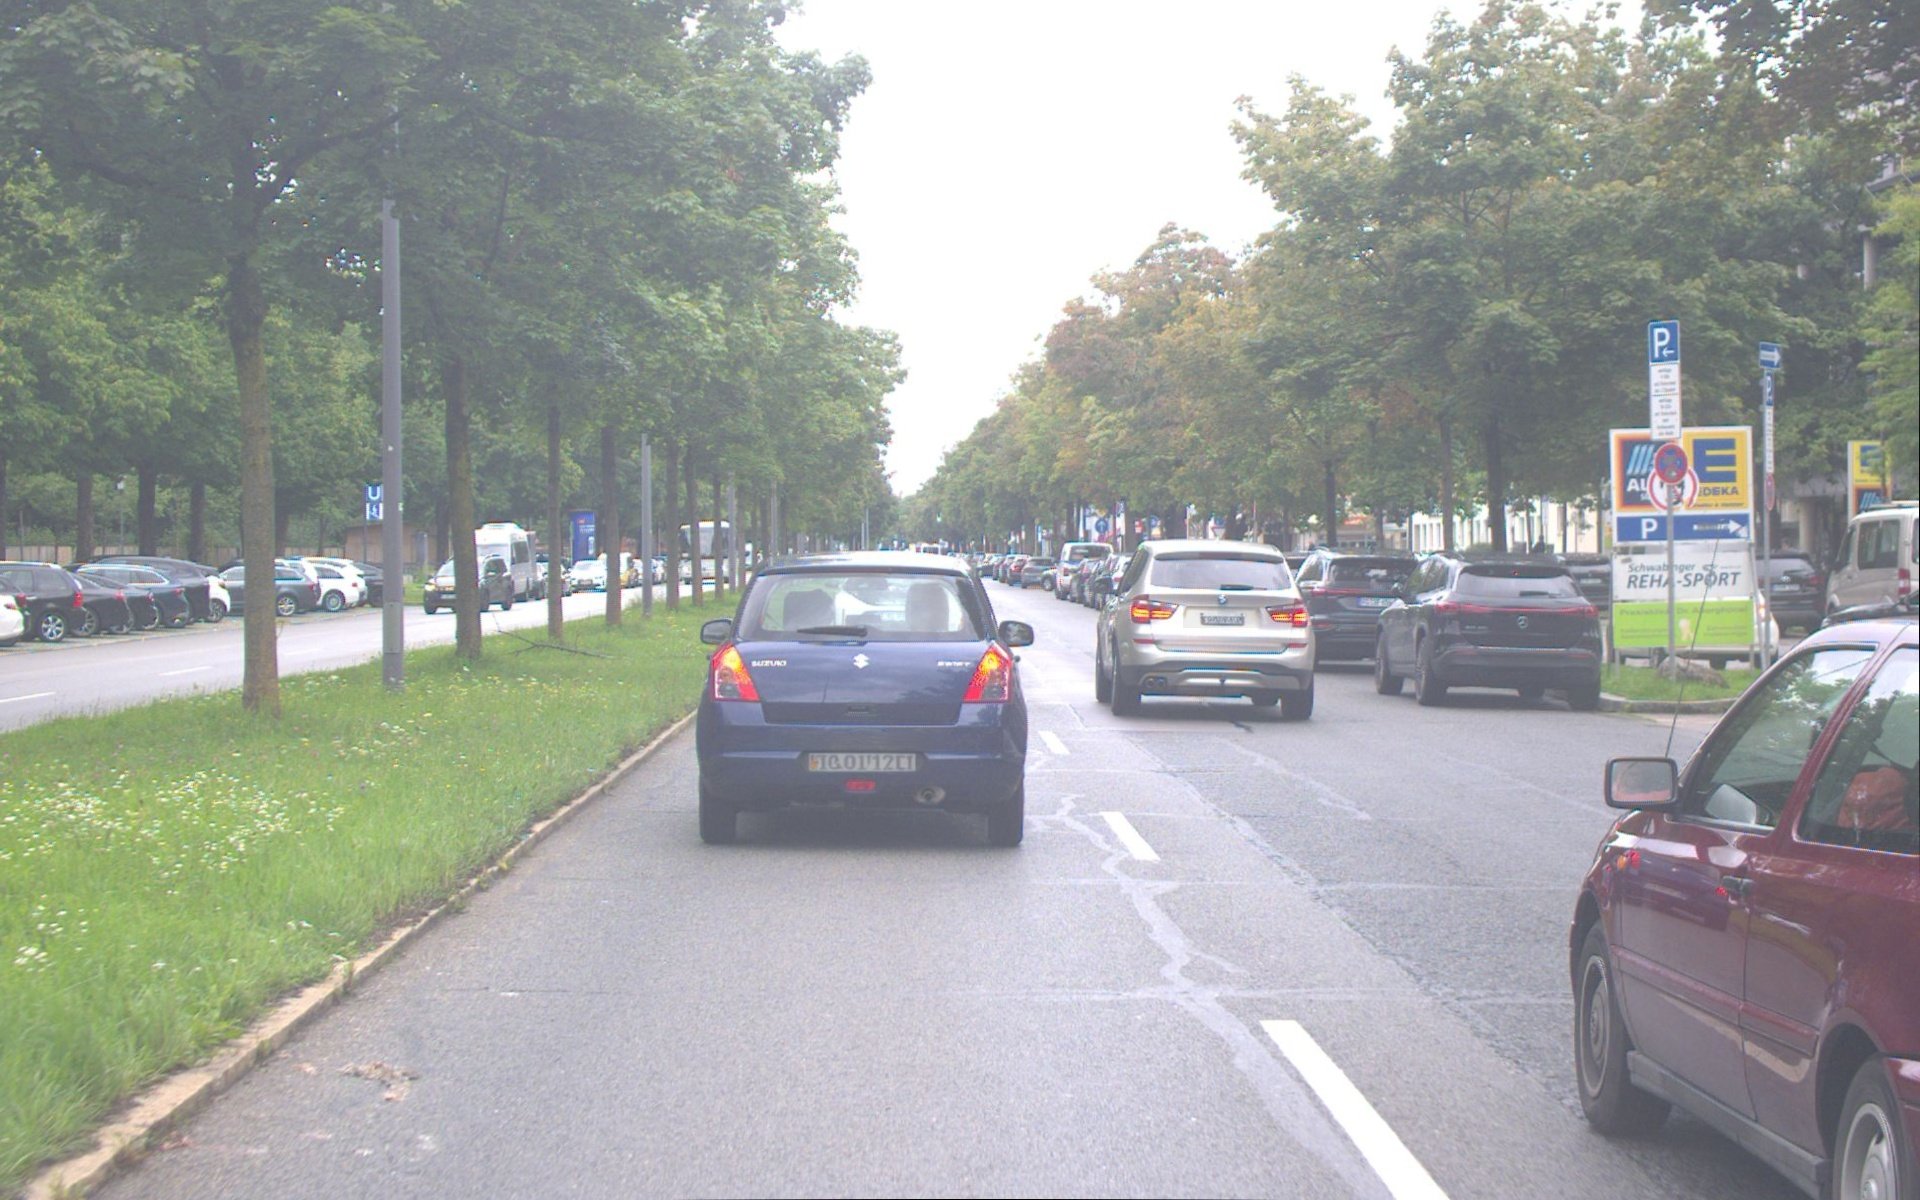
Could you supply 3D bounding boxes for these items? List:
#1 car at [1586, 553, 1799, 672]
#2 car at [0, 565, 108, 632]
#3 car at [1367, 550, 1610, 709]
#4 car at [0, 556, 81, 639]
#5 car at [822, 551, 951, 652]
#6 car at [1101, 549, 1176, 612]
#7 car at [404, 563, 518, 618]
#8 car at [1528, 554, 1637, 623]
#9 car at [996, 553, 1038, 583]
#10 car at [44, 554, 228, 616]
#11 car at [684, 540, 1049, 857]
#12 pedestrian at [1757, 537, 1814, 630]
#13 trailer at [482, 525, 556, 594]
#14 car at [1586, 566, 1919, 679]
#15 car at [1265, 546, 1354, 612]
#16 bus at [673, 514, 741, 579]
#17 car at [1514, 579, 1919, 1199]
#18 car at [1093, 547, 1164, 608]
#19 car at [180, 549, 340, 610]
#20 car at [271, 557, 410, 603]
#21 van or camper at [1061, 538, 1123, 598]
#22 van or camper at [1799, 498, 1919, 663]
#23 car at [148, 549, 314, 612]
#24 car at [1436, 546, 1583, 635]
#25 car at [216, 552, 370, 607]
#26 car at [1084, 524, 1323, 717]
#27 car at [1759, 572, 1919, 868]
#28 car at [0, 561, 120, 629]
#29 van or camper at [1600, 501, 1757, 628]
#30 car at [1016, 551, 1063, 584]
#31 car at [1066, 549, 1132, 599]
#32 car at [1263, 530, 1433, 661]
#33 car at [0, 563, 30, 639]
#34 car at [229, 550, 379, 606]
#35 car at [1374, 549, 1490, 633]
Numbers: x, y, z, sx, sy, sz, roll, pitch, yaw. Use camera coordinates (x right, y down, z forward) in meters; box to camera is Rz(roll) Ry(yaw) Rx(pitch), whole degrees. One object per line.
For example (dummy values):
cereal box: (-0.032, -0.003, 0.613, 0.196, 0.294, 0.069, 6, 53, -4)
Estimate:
car: (9.845, 0.135, 46.491, 1.763, 1.483, 4.001, 2, 1, -3)
car: (-19.868, -0.031, 70.585, 4.189, 1.318, 1.919, -1, 1, -34)
car: (5.559, 0.261, 36.684, 1.761, 1.584, 4.453, 0, 1, -2)
car: (-19.576, -0.048, 67.419, 4.096, 1.591, 1.919, -1, 1, -39)
car: (-1.141, -0.008, 51.359, 1.850, 1.442, 4.098, 0, 1, -2)
car: (4.569, -0.520, 88.418, 1.684, 1.520, 4.456, 1, 1, 0)
car: (-14.339, -0.286, 99.018, 1.914, 1.537, 4.185, 0, 1, 12)
car: (15.268, -0.301, 84.538, 1.684, 1.627, 4.499, 0, 1, -2)
car: (2.783, -1.597, 168.290, 1.850, 1.442, 4.098, 0, 1, -2)
car: (-20.668, -0.390, 86.292, 4.094, 1.496, 1.919, -1, 1, -31)
car: (-0.538, 0.453, 18.878, 1.789, 1.550, 4.000, 0, 1, -2)
pedestrian: (16.636, -0.336, 69.318, 0.875, 1.845, 0.903, 1, 1, -2)
trailer: (-16.628, -1.542, 129.764, 2.106, 2.532, 5.577, 0, 1, 0)
car: (10.893, 0.271, 47.342, 1.684, 1.449, 4.839, -1, 1, -31)
car: (8.871, -0.555, 87.559, 1.684, 1.627, 4.780, 0, 1, -1)
bus: (-13.772, -2.941, 187.770, 2.738, 3.366, 12.013, -2, 1, 0)
car: (2.405, 0.695, 7.647, 1.622, 1.449, 3.950, 0, 1, -1)
car: (4.597, -0.636, 94.217, 1.684, 1.620, 4.306, 1, 1, 0)
car: (-20.099, -0.610, 98.749, 4.095, 1.689, 1.919, -1, 1, -34)
car: (-20.120, -0.638, 111.753, 4.094, 1.469, 1.705, 0, 0, -34)
van or camper: (4.437, -1.096, 116.001, 1.944, 1.968, 4.306, 0, 1, 0)
van or camper: (15.426, -0.354, 56.050, 1.993, 2.549, 5.957, 0, 1, 0)
car: (-20.275, -0.552, 95.658, 4.095, 1.689, 1.919, -1, 1, -34)
car: (9.438, -0.187, 59.273, 1.747, 1.474, 4.009, 0, 1, -2)
car: (-19.909, -0.614, 102.648, 4.095, 1.579, 1.919, -1, 1, -34)
car: (2.270, 0.151, 33.090, 1.850, 1.737, 4.098, 0, 1, -2)
car: (5.503, 0.583, 17.654, 1.653, 1.429, 4.483, 0, 1, -1)
car: (-20.320, -0.115, 73.467, 4.185, 1.405, 1.919, -1, 1, -34)
van or camper: (15.092, -0.771, 72.571, 2.024, 2.549, 5.957, 0, 1, 0)
car: (3.551, -1.484, 154.446, 1.850, 1.442, 4.098, 0, 1, -2)
car: (4.424, -0.843, 109.632, 1.684, 1.548, 4.307, 0, 1, -3)
car: (5.226, -0.093, 46.814, 1.761, 1.695, 4.820, 0, 1, 0)
car: (-19.049, 0.030, 62.044, 4.030, 1.377, 1.674, -1, 1, -36)
car: (-20.160, -0.690, 105.678, 4.095, 1.647, 1.919, -1, 1, -34)
car: (9.154, -0.194, 66.911, 1.684, 1.580, 4.009, 0, 1, 0)
